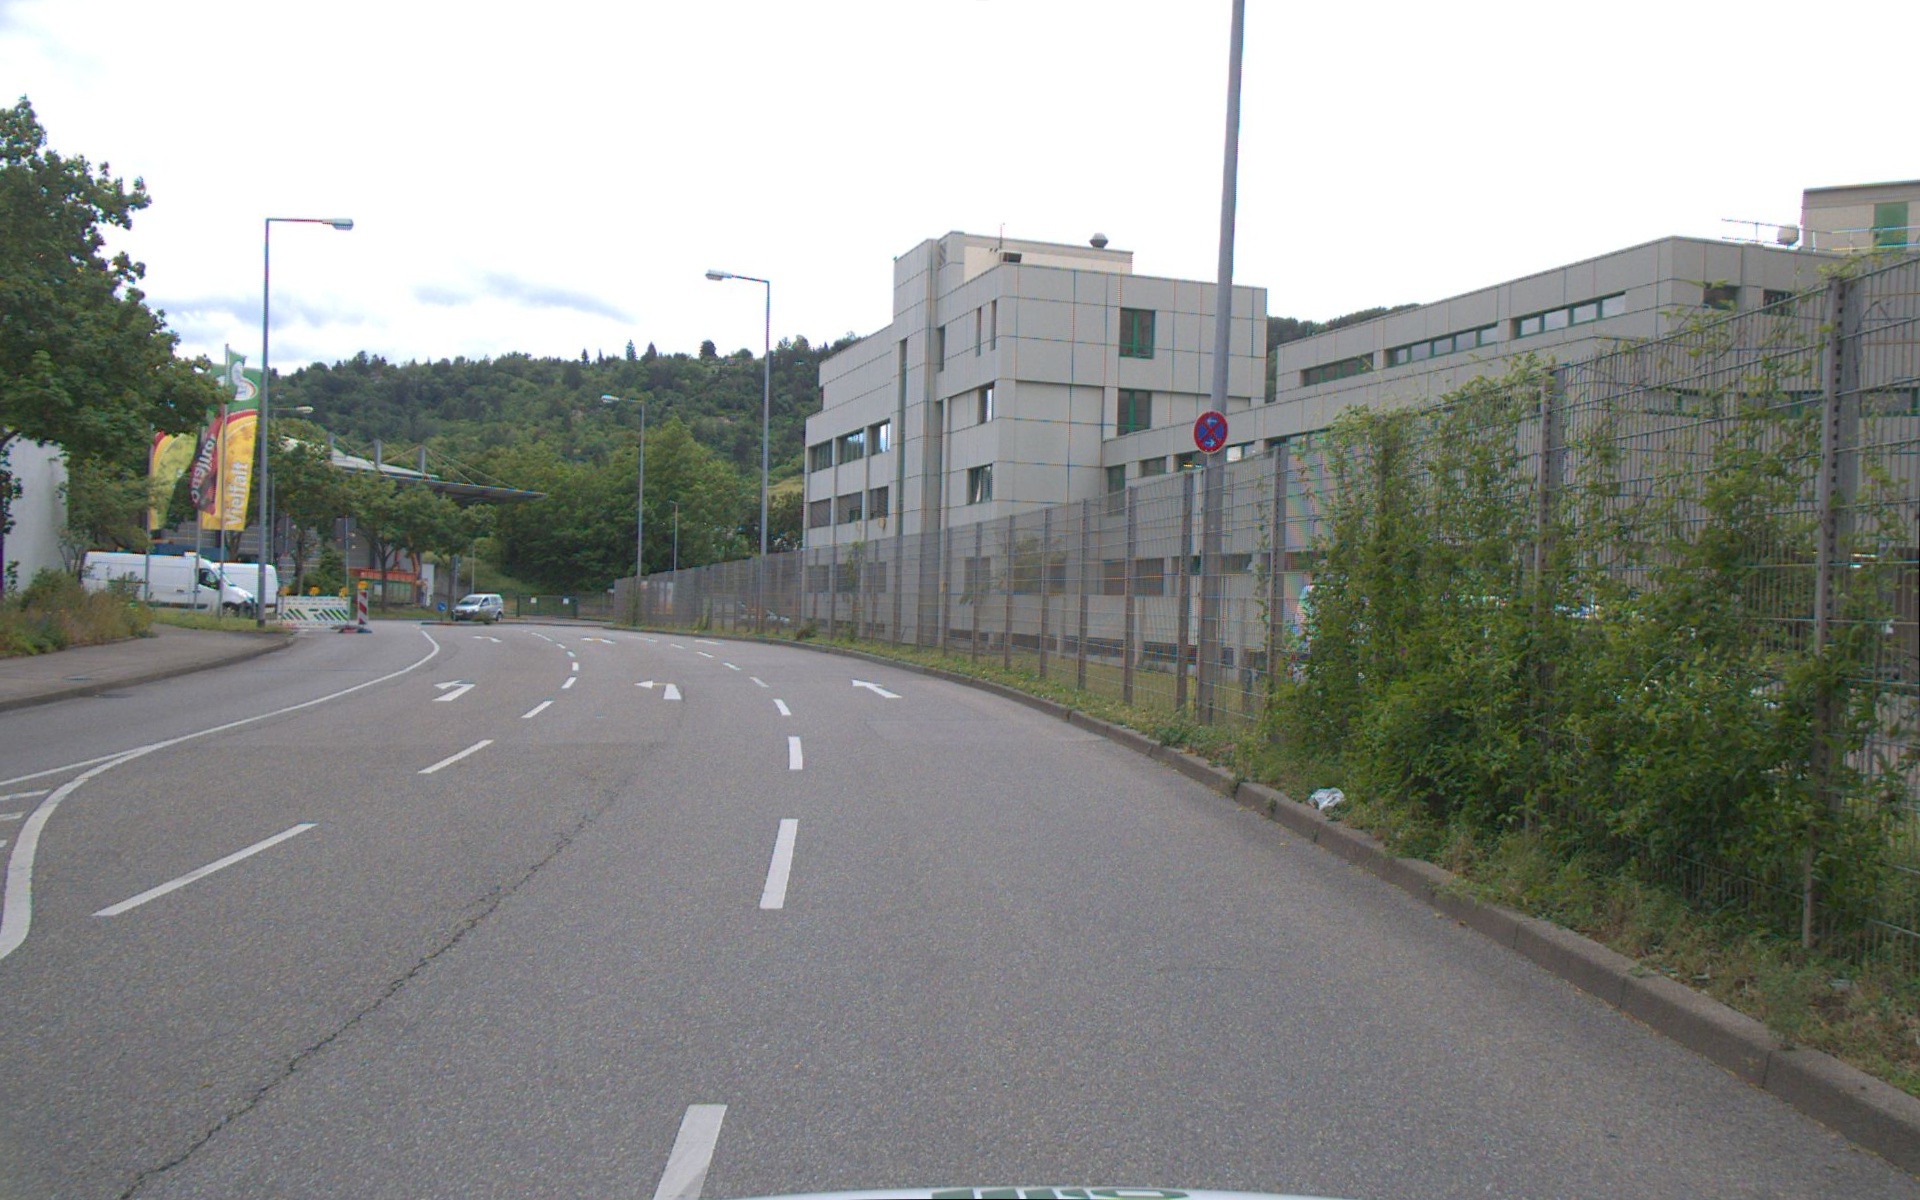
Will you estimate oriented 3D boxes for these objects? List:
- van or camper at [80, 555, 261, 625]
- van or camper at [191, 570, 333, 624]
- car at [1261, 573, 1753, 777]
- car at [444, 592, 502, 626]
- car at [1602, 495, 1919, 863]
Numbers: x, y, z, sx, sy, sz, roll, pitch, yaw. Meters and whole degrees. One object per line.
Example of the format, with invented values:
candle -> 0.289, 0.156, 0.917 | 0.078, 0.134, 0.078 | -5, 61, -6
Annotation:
van or camper -> -30.474, -0.343, 64.065 | 5.891, 2.286, 2.384 | 4, -2, -18
van or camper -> -33.475, -0.096, 79.594 | 1.968, 2.367, 6.649 | 1, -2, 24
car -> 6.901, 0.864, 21.679 | 1.978, 2.302, 6.089 | 2, -1, -37
car -> -31.282, 0.603, 106.385 | 1.951, 2.049, 4.134 | 2, 0, 9
car -> 6.363, 0.507, 11.492 | 1.952, 2.049, 4.845 | 1, -1, 1
